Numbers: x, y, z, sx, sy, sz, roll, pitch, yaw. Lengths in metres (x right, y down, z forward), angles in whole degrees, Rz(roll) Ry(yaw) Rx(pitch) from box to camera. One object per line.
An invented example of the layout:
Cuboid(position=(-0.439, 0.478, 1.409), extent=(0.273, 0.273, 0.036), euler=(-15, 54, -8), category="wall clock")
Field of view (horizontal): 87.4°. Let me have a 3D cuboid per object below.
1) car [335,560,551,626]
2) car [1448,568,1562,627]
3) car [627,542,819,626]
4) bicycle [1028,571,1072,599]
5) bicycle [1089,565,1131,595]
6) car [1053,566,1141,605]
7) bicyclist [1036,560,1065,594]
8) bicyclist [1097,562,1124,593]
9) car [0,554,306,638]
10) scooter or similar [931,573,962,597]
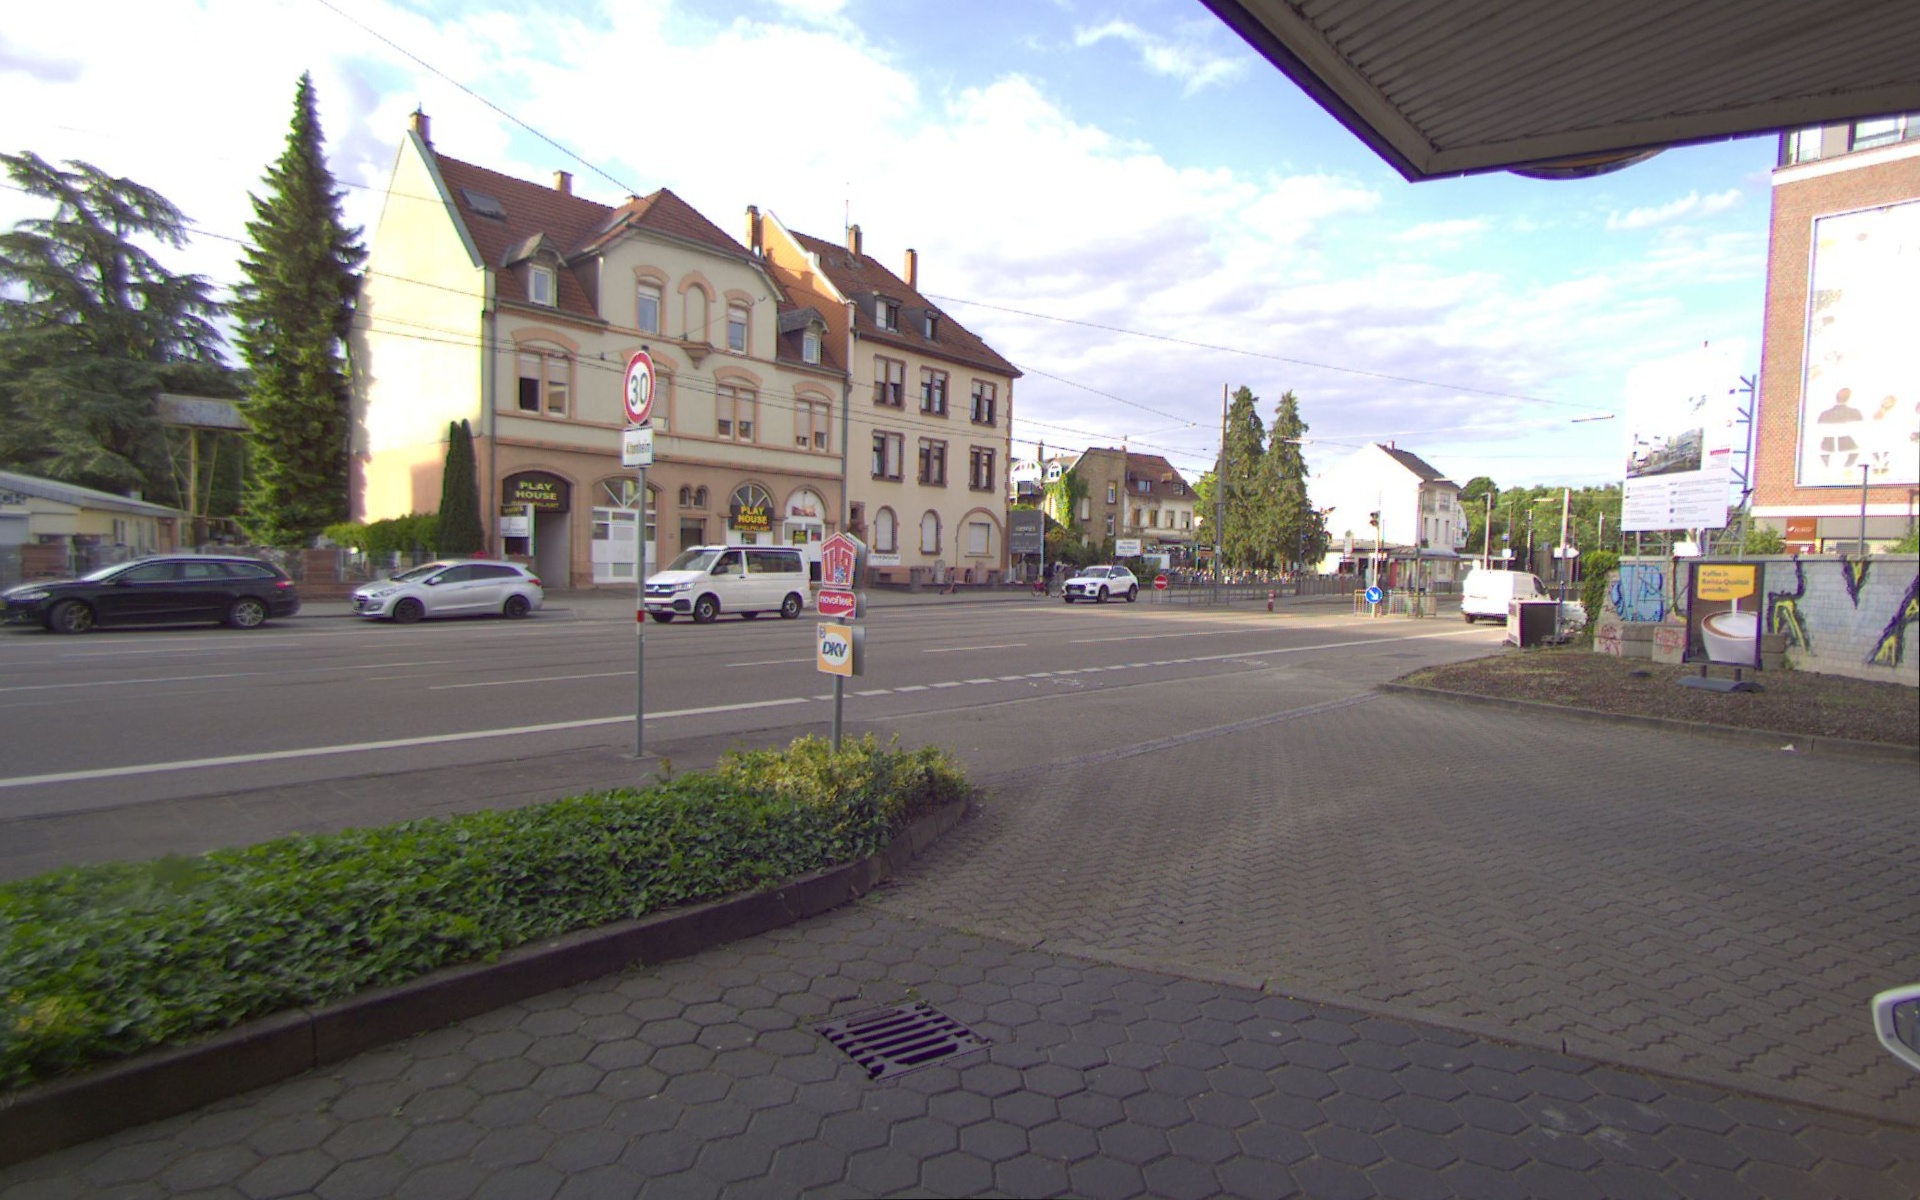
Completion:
Cuboid(position=(-13.000, -0.250, 25.469), extent=(1.970, 1.495, 4.467), euler=(3, 3, 40), category="car")
Cuboid(position=(19.181, -0.097, 35.288), extent=(4.374, 1.915, 1.946), euler=(0, 2, -40), category="car")
Cuboid(position=(-6.128, -0.461, 26.518), extent=(1.967, 1.995, 4.872), euler=(2, 3, 35), category="car")
Cuboid(position=(4.350, -0.722, 48.579), extent=(1.884, 1.219, 0.839), euler=(1, 6, -31), category="bicycle")
Cuboid(position=(7.906, -1.057, 53.042), extent=(1.962, 1.512, 0.785), euler=(2, 4, -21), category="bicycle")
Cuboid(position=(5.987, -0.675, 43.432), extent=(1.812, 1.598, 4.361), euler=(1, 2, 39), category="car")
Cuboid(position=(4.379, -1.113, 48.533), extent=(0.953, 1.579, 0.839), euler=(1, 6, -31), category="bicyclist")
Cuboid(position=(7.959, -1.191, 53.052), extent=(1.079, 1.512, 0.785), euler=(2, 4, -20), category="bicyclist")
Cuboid(position=(-16.569, -0.151, 20.736), extent=(1.970, 1.516, 4.801), euler=(3, 3, 40), category="car")
Cuboid(position=(-0.596, -0.698, 45.139), extent=(0.488, 1.015, 1.592), euler=(5, 5, 39), category="scooter or similar")
